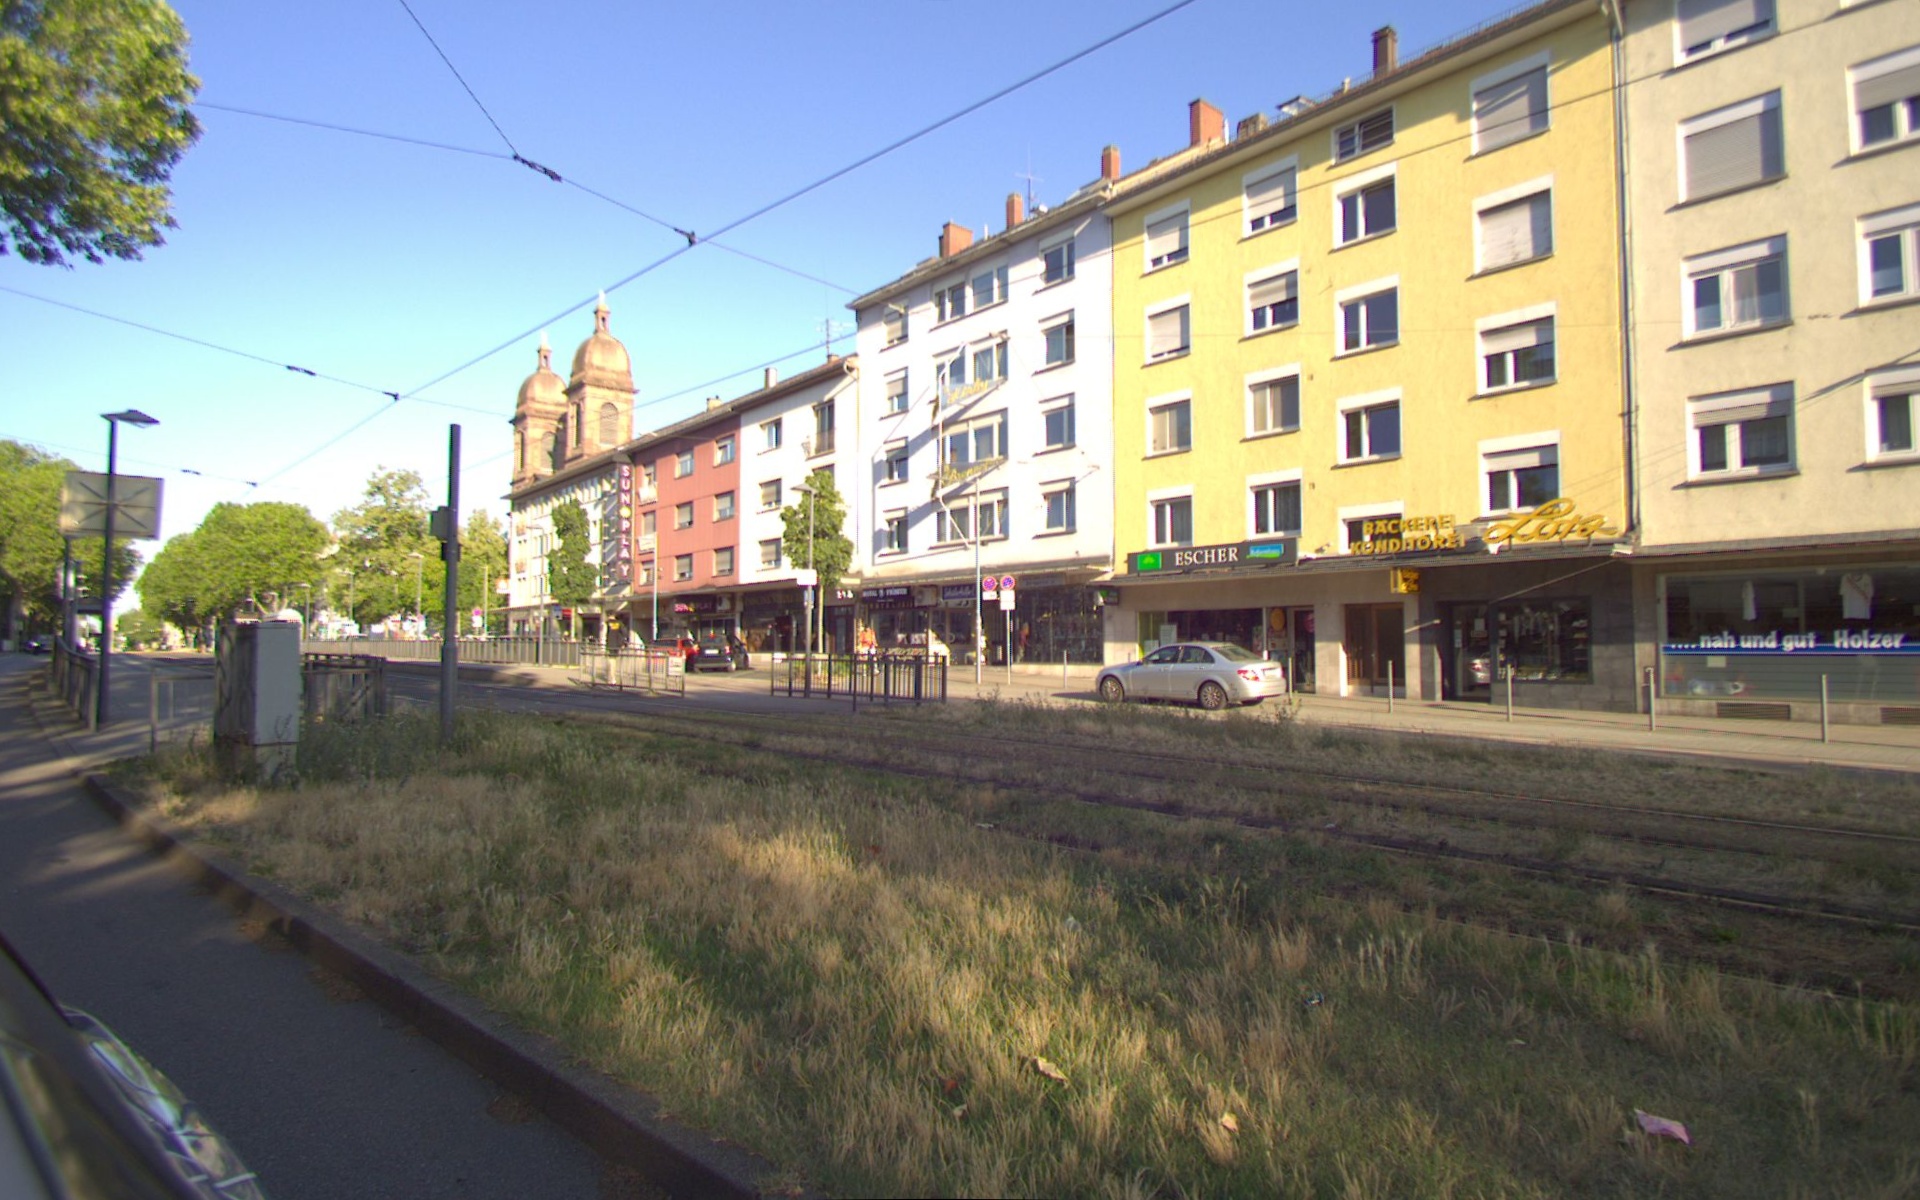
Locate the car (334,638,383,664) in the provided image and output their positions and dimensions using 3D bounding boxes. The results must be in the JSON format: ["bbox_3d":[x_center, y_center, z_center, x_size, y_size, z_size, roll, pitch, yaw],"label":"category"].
[{"bbox_3d":[-41.090,3.452,69.109,1.970,1.730,4.440,2,-4,-43],"label":"car"}]

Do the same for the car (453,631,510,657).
[{"bbox_3d":[-30.364,2.766,64.331,1.720,1.497,3.998,-1,-1,1],"label":"car"}]

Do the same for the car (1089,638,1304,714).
[{"bbox_3d":[5.298,1.638,23.074,1.970,1.489,4.414,0,-1,-44],"label":"car"}]

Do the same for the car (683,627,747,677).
[{"bbox_3d":[-9.899,2.075,41.152,1.836,1.813,3.773,-2,0,-3],"label":"car"}]

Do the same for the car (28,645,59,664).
[{"bbox_3d":[-73.743,4.342,81.408,4.002,1.409,1.694,-2,-1,45],"label":"car"}]

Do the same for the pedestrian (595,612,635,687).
[{"bbox_3d":[-8.727,1.250,25.606,0.590,1.863,0.733,-3,-4,43],"label":"pedestrian"}]

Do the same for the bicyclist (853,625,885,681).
[{"bbox_3d":[-3.111,1.799,34.491,0.683,1.901,1.060,2,-3,-32],"label":"bicyclist"}]

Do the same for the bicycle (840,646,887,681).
[{"bbox_3d":[-3.344,2.176,34.848,0.696,1.168,2.204,2,-3,-33],"label":"bicycle"}]

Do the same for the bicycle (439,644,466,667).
[{"bbox_3d":[-27.514,2.989,54.837,0.709,1.239,2.281,3,-4,-42],"label":"bicycle"}]

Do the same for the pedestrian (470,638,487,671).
[{"bbox_3d":[-27.221,3.091,57.212,0.756,1.801,0.726,0,-1,-39],"label":"pedestrian"}]

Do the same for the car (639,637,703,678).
[{"bbox_3d":[-12.192,2.402,42.897,1.836,1.502,3.773,-2,0,-3],"label":"car"}]

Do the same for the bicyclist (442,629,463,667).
[{"bbox_3d":[-27.489,2.590,54.830,0.754,2.029,0.912,3,-4,-42],"label":"bicyclist"}]
